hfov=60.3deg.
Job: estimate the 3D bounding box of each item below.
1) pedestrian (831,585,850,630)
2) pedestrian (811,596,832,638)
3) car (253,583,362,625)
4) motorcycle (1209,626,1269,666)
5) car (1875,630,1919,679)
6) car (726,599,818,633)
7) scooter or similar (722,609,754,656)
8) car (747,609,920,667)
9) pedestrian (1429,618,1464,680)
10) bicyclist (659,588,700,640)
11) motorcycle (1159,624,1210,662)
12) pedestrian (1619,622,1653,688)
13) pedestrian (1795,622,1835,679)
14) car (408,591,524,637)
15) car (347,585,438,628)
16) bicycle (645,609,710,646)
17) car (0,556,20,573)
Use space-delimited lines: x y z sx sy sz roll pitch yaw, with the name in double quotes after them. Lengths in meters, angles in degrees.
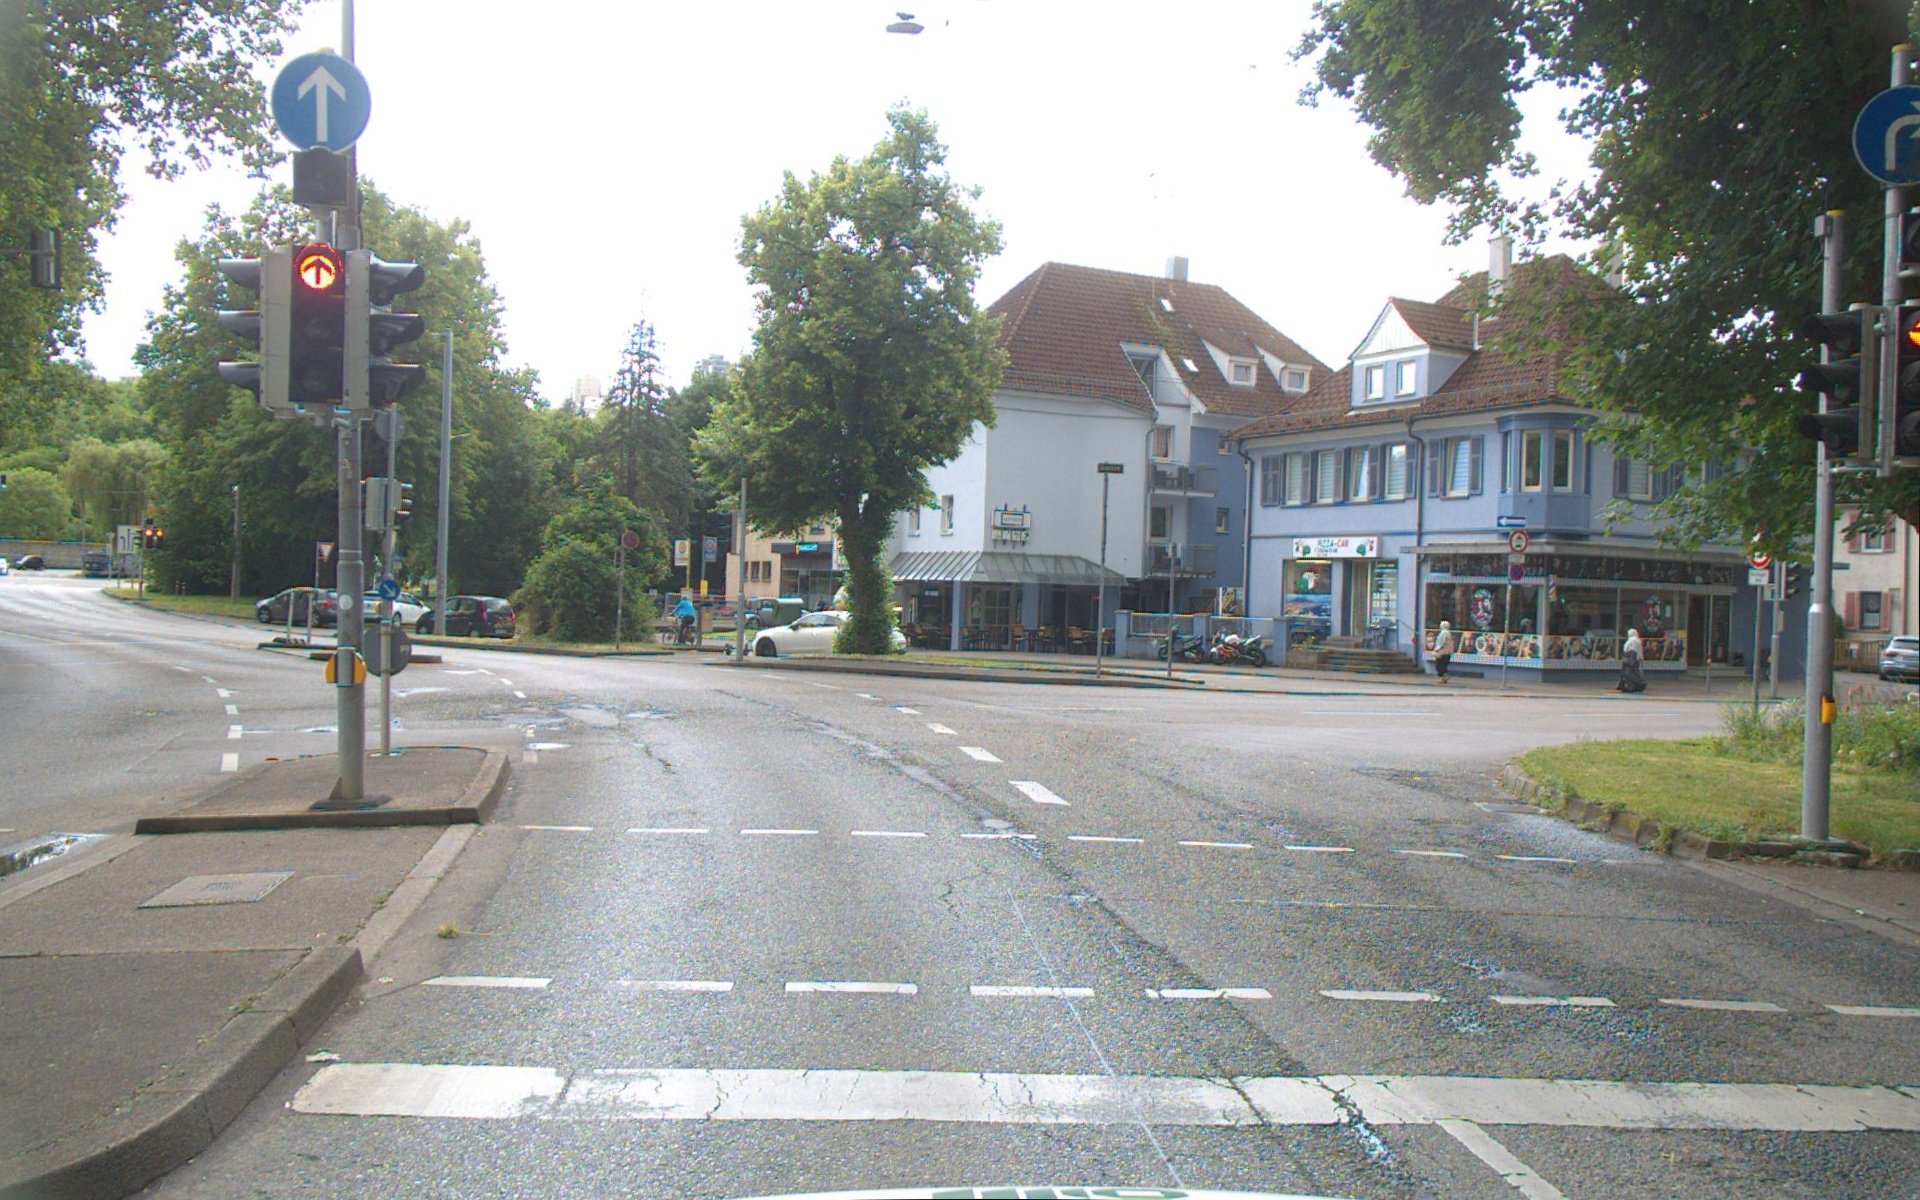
-4.263 0.270 59.132 0.531 1.587 0.468 0 -1 13 "pedestrian"
-6.769 0.825 80.724 0.823 2.049 1.052 1 0 -15 "pedestrian"
-25.007 0.153 63.420 3.695 1.491 1.622 1 0 18 "car"
8.169 1.338 48.461 1.595 1.107 0.625 1 0 32 "motorcycle"
29.699 1.687 51.692 1.849 1.415 3.608 1 0 28 "car"
-8.581 0.733 75.480 3.880 1.467 1.742 1 0 -21 "car"
-5.699 0.829 42.509 0.433 1.195 1.439 1 0 8 "scooter or similar"
-3.530 1.021 45.683 4.618 1.435 1.896 1 0 35 "car"
12.658 1.261 43.035 0.717 1.587 0.767 0 -1 30 "pedestrian"
-9.264 0.463 54.570 0.966 1.680 0.918 1 0 24 "bicyclist"
6.816 1.287 50.211 1.430 1.107 0.522 1 0 35 "motorcycle"
16.577 1.343 40.580 0.681 1.587 0.665 0 -1 30 "pedestrian"
23.945 1.405 46.334 0.659 1.587 0.743 1 -1 -15 "pedestrian"
-15.912 0.447 53.263 3.252 1.376 1.778 1 0 27 "car"
-22.732 0.259 66.403 1.821 1.668 3.757 1 0 10 "car"
-9.321 0.900 54.579 1.907 1.169 0.876 1 0 24 "bicycle"
-88.768 -3.273 153.694 2.970 1.442 1.492 0 -2 40 "car"
